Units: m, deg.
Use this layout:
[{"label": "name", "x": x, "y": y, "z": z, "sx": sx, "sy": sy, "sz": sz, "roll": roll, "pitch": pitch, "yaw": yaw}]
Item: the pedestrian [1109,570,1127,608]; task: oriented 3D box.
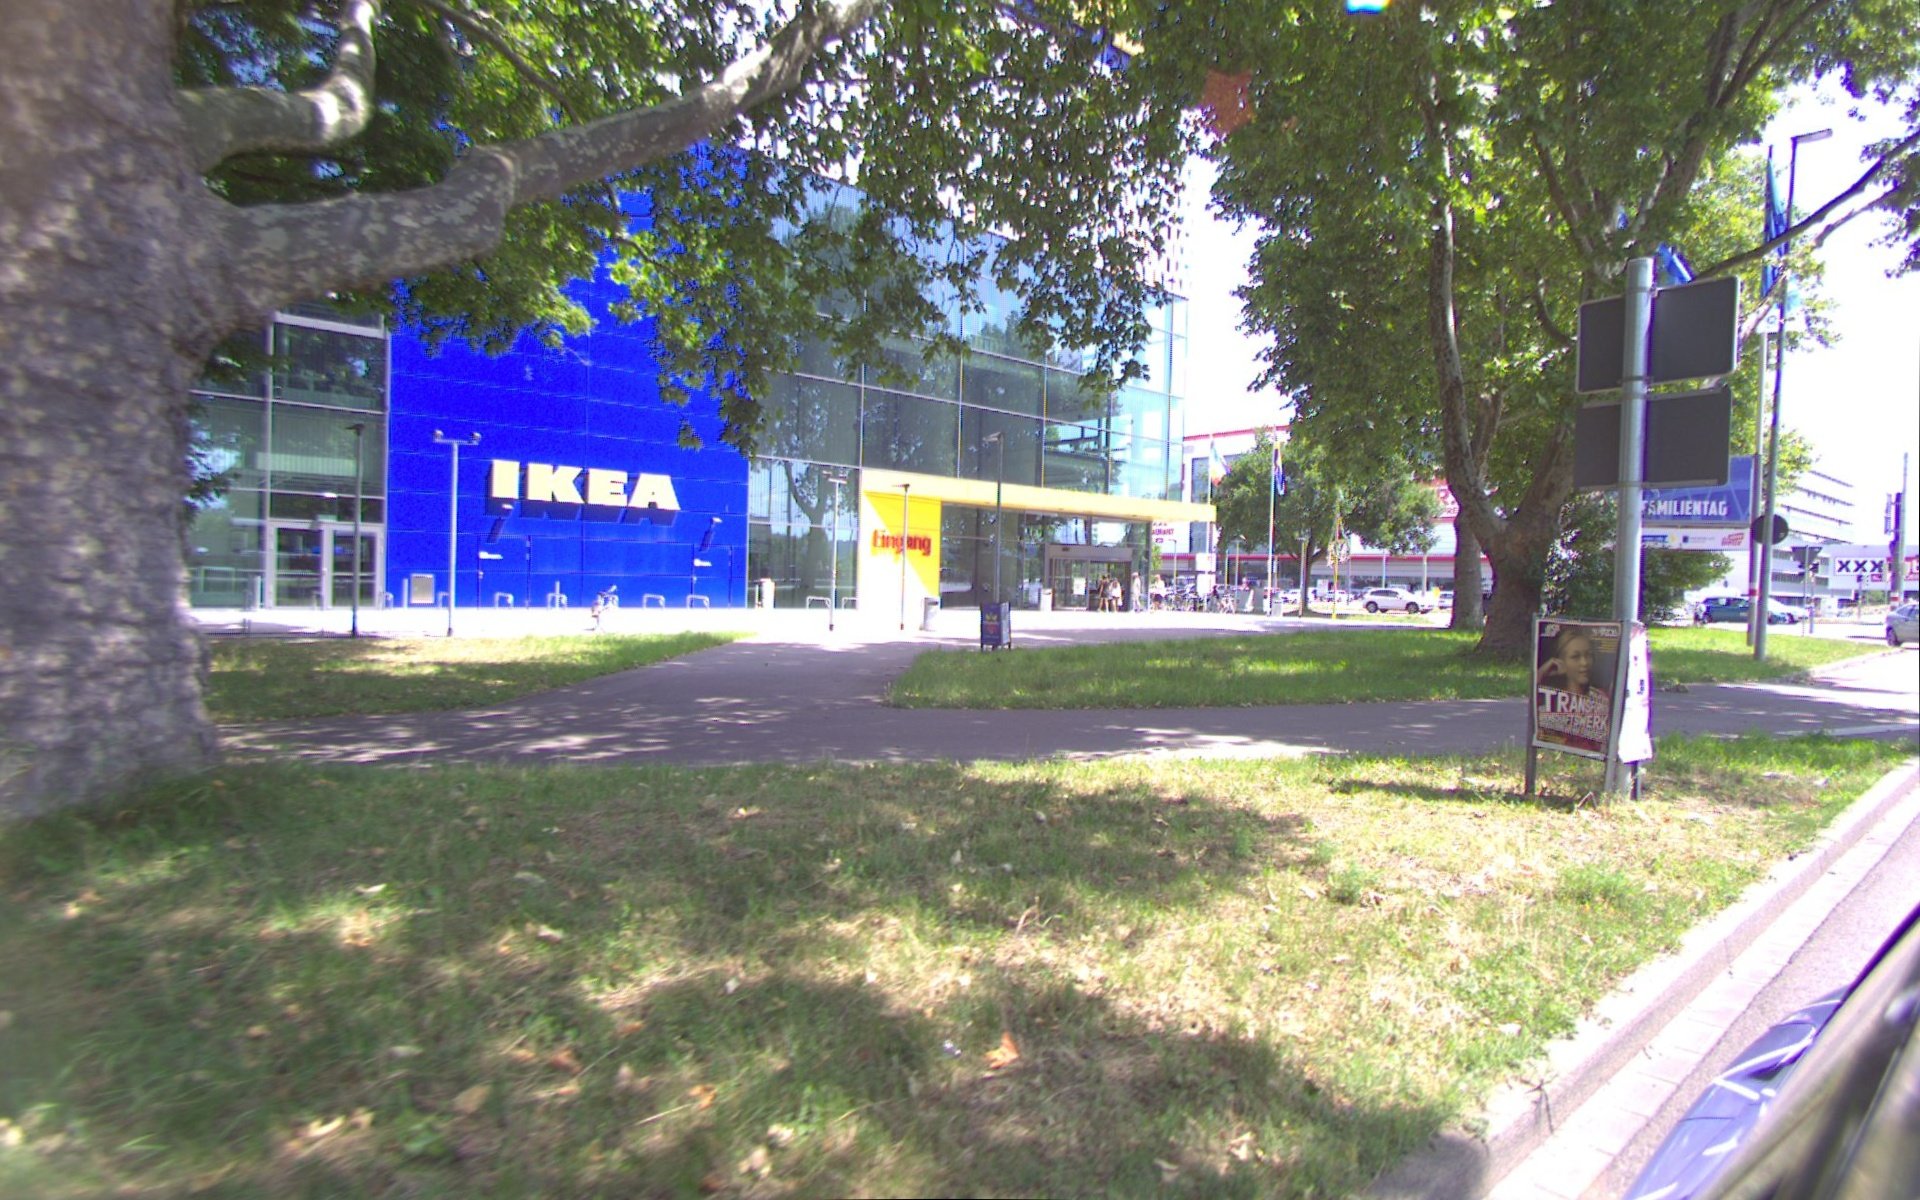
[{"label": "pedestrian", "x": 7.036, "y": -0.478, "z": 45.084, "sx": 0.574, "sy": 1.693, "sz": 0.609, "roll": 0, "pitch": 0, "yaw": -13}]

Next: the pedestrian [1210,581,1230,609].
[{"label": "pedestrian", "x": 15.104, "y": -0.292, "z": 58.700, "sx": 0.623, "sy": 1.606, "sz": 0.918, "roll": 0, "pitch": 1, "yaw": -45}]

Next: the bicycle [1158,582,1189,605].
[{"label": "bicycle", "x": 11.961, "y": -0.376, "z": 56.646, "sx": 0.798, "sy": 1.214, "sz": 2.401, "roll": 1, "pitch": 1, "yaw": 36}]

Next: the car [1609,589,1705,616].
[{"label": "car", "x": 40.074, "y": 0.103, "z": 58.277, "sx": 1.768, "sy": 1.415, "sz": 4.236, "roll": 0, "pitch": 1, "yaw": -32}]

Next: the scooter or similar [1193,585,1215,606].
[{"label": "scooter or similar", "x": 14.341, "y": -0.271, "z": 59.452, "sx": 0.716, "sy": 1.213, "sz": 1.075, "roll": 0, "pitch": 1, "yaw": -41}]

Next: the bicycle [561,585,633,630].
[{"label": "bicycle", "x": -8.551, "y": 0.162, "z": 23.801, "sx": 0.854, "sy": 0.981, "sz": 2.062, "roll": 0, "pitch": 1, "yaw": -43}]

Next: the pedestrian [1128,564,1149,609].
[{"label": "pedestrian", "x": 8.091, "y": -0.621, "z": 45.933, "sx": 0.718, "sy": 2.039, "sz": 0.800, "roll": 1, "pitch": 1, "yaw": -4}]

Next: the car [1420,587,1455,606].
[{"label": "car", "x": 52.789, "y": -0.446, "z": 111.837, "sx": 3.927, "sy": 2.039, "sz": 1.999, "roll": -1, "pitch": 1, "yaw": -38}]

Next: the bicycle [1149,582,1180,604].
[{"label": "bicycle", "x": 11.732, "y": -0.427, "z": 58.006, "sx": 0.798, "sy": 1.214, "sz": 2.401, "roll": 1, "pitch": 1, "yaw": 36}]

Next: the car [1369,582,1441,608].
[{"label": "car", "x": 30.457, "y": -0.376, "z": 69.297, "sx": 1.966, "sy": 1.660, "sz": 4.075, "roll": 0, "pitch": 2, "yaw": -42}]

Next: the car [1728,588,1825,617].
[{"label": "car", "x": 43.522, "y": 0.109, "z": 54.000, "sx": 1.773, "sy": 1.414, "sz": 3.830, "roll": 0, "pitch": 1, "yaw": -42}]

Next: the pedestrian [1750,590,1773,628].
[{"label": "pedestrian", "x": 36.419, "y": 0.393, "z": 45.998, "sx": 0.847, "sy": 1.658, "sz": 0.604, "roll": -2, "pitch": 1, "yaw": -34}]

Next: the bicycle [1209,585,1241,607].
[{"label": "bicycle", "x": 14.095, "y": -0.223, "z": 53.748, "sx": 0.798, "sy": 1.159, "sz": 2.401, "roll": 1, "pitch": 1, "yaw": 36}]

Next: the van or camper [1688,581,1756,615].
[{"label": "van or camper", "x": 68.244, "y": -0.228, "z": 90.613, "sx": 7.469, "sy": 2.983, "sz": 2.718, "roll": -1, "pitch": 1, "yaw": -35}]

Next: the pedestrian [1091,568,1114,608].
[{"label": "pedestrian", "x": 6.329, "y": -0.526, "z": 44.980, "sx": 0.725, "sy": 1.757, "sz": 0.785, "roll": 1, "pitch": 1, "yaw": -13}]

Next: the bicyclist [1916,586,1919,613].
[{"label": "bicyclist", "x": 62.116, "y": -0.038, "z": 64.876, "sx": 0.802, "sy": 1.722, "sz": 0.798, "roll": 1, "pitch": 1, "yaw": 5}]

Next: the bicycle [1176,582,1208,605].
[{"label": "bicycle", "x": 12.886, "y": -0.368, "z": 56.137, "sx": 0.798, "sy": 1.213, "sz": 2.401, "roll": 2, "pitch": 2, "yaw": 36}]

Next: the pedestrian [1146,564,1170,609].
[{"label": "pedestrian", "x": 9.055, "y": -0.634, "z": 46.248, "sx": 0.718, "sy": 2.039, "sz": 0.800, "roll": 0, "pitch": 1, "yaw": -32}]

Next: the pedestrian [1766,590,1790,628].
[{"label": "pedestrian", "x": 36.769, "y": 0.398, "z": 45.484, "sx": 0.847, "sy": 1.658, "sz": 0.608, "roll": -2, "pitch": 1, "yaw": -34}]

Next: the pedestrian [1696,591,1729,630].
[{"label": "pedestrian", "x": 33.075, "y": 0.436, "z": 44.484, "sx": 0.834, "sy": 1.680, "sz": 0.799, "roll": 0, "pitch": 1, "yaw": -20}]

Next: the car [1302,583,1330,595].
[{"label": "car", "x": 47.537, "y": -1.466, "z": 135.087, "sx": 3.928, "sy": 1.546, "sz": 1.693, "roll": -1, "pitch": 1, "yaw": -39}]

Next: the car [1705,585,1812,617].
[{"label": "car", "x": 41.107, "y": 0.053, "z": 52.161, "sx": 1.964, "sy": 1.575, "sz": 3.995, "roll": 0, "pitch": 0, "yaw": -39}]

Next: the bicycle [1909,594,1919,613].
[{"label": "bicycle", "x": 62.111, "y": 0.233, "z": 64.878, "sx": 0.817, "sy": 1.176, "sz": 1.877, "roll": 1, "pitch": 1, "yaw": 4}]

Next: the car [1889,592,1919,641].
[{"label": "car", "x": 29.252, "y": 0.519, "z": 29.338, "sx": 1.709, "sy": 1.436, "sz": 4.298, "roll": 0, "pitch": 1, "yaw": 17}]
